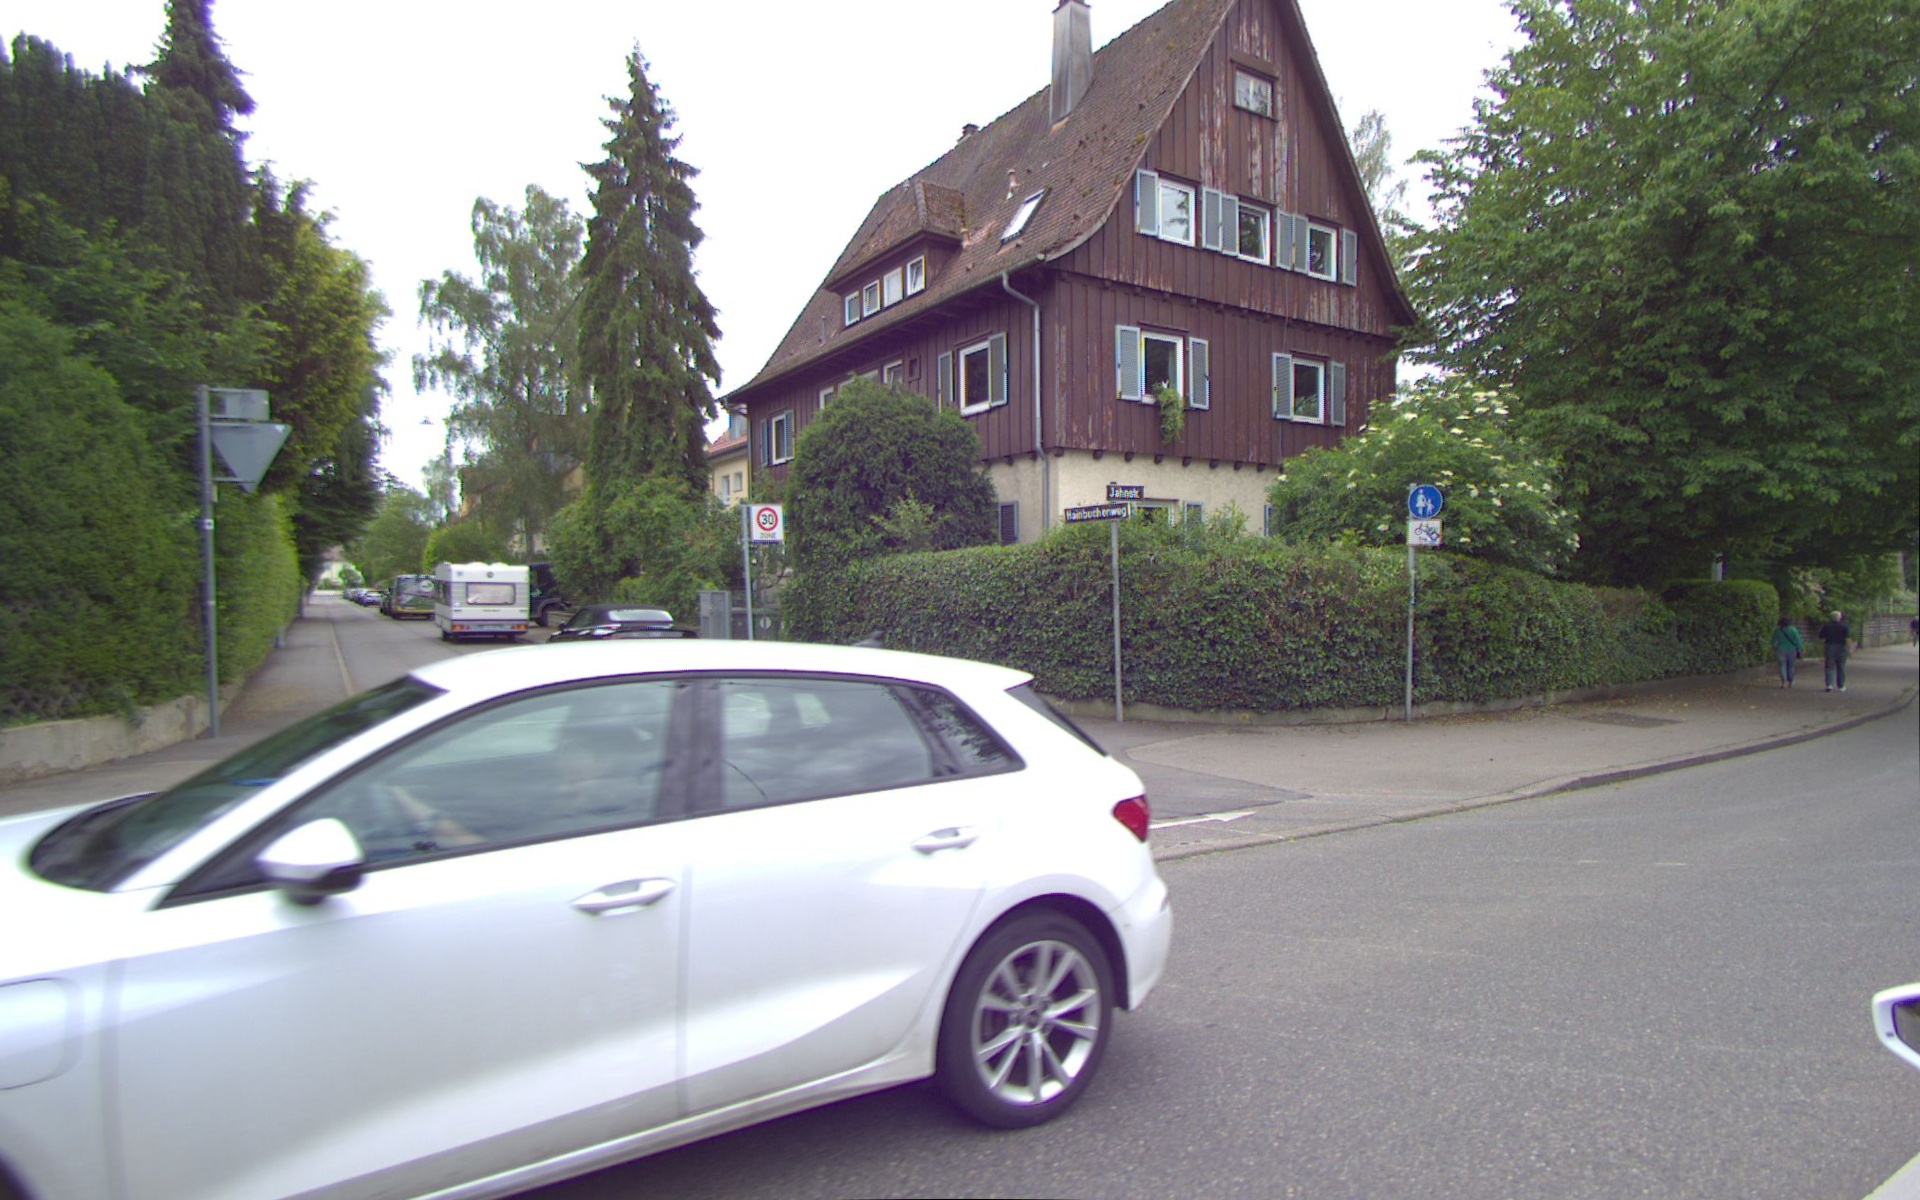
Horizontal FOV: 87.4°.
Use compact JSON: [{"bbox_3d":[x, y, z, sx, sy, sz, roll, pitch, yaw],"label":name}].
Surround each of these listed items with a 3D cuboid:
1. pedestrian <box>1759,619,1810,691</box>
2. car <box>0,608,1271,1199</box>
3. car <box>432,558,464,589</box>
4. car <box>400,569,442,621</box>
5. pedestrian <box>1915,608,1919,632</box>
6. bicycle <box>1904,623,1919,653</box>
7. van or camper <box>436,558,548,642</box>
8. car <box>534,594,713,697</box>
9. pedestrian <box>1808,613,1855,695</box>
[{"bbox_3d":[17.908,1.174,21.841,0.660,1.468,0.755,7,3,34],"label":"pedestrian"},{"bbox_3d":[-1.151,0.794,3.109,4.152,1.462,1.798,2,-2,-32],"label":"car"},{"bbox_3d":[-38.978,-1.975,76.410,1.976,2.207,3.969,1,0,-29],"label":"car"},{"bbox_3d":[-28.888,-0.262,53.805,1.865,2.600,4.725,1,0,-29],"label":"car"},{"bbox_3d":[71.057,1.484,73.984,0.802,1.787,0.867,1,1,25],"label":"pedestrian"},{"bbox_3d":[55.775,2.209,58.815,1.967,1.699,0.556,1,1,-43],"label":"bicycle"},{"bbox_3d":[-15.136,0.010,32.283,2.708,2.455,5.604,1,0,-31],"label":"van or camper"},{"bbox_3d":[-5.984,0.686,17.467,1.868,1.434,4.719,1,1,-33],"label":"car"},{"bbox_3d":[18.596,1.133,21.443,0.620,1.684,0.917,1,0,34],"label":"pedestrian"}]
